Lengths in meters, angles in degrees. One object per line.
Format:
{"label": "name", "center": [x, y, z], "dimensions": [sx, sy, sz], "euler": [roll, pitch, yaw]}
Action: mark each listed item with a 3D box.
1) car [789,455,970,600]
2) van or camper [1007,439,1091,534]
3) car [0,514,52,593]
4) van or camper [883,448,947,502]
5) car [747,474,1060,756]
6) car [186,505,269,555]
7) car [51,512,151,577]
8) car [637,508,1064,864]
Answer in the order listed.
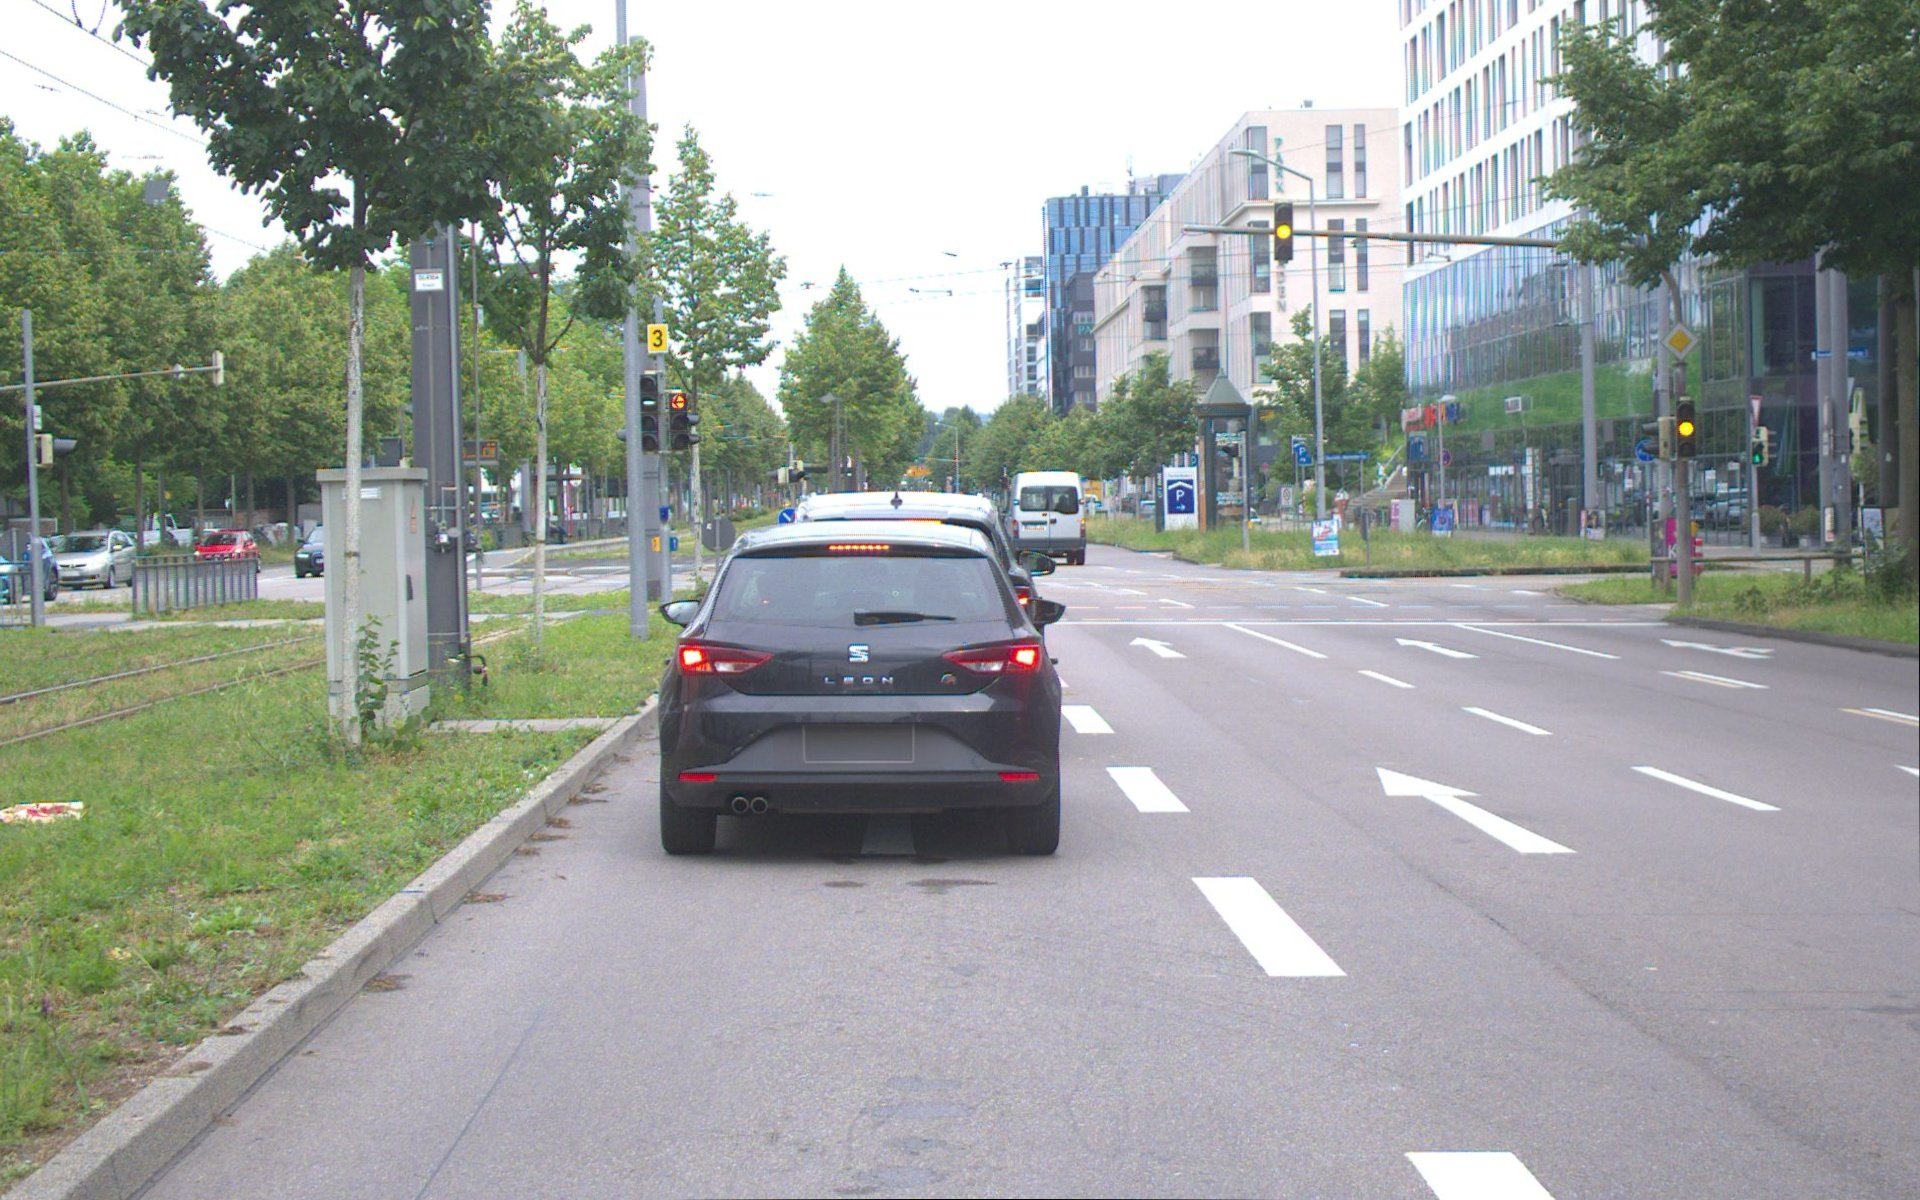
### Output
{"label": "car", "center": [-0.922, -0.921, 41.710], "dimensions": [1.993, 1.676, 4.000], "euler": [0, 2, 2]}
{"label": "van or camper", "center": [2.370, -3.075, 92.359], "dimensions": [2.109, 2.347, 4.924], "euler": [-1, 4, 0]}
{"label": "car", "center": [-21.240, -1.028, 74.746], "dimensions": [1.964, 1.583, 4.690], "euler": [-1, 2, -3]}
{"label": "van or camper", "center": [-1.410, -3.999, 109.389], "dimensions": [1.993, 1.609, 4.790], "euler": [-1, 3, 0]}
{"label": "car", "center": [-0.356, 0.015, 22.195], "dimensions": [1.802, 1.618, 4.001], "euler": [-1, 2, -1]}
{"label": "car", "center": [-24.406, -2.354, 114.694], "dimensions": [1.796, 1.565, 4.328], "euler": [-1, 2, 1]}
{"label": "car", "center": [-23.497, -1.536, 94.183], "dimensions": [1.721, 1.637, 4.676], "euler": [-1, 2, -3]}
{"label": "car", "center": [-0.500, 0.302, 16.094], "dimensions": [1.743, 1.412, 4.001], "euler": [0, 2, -1]}
